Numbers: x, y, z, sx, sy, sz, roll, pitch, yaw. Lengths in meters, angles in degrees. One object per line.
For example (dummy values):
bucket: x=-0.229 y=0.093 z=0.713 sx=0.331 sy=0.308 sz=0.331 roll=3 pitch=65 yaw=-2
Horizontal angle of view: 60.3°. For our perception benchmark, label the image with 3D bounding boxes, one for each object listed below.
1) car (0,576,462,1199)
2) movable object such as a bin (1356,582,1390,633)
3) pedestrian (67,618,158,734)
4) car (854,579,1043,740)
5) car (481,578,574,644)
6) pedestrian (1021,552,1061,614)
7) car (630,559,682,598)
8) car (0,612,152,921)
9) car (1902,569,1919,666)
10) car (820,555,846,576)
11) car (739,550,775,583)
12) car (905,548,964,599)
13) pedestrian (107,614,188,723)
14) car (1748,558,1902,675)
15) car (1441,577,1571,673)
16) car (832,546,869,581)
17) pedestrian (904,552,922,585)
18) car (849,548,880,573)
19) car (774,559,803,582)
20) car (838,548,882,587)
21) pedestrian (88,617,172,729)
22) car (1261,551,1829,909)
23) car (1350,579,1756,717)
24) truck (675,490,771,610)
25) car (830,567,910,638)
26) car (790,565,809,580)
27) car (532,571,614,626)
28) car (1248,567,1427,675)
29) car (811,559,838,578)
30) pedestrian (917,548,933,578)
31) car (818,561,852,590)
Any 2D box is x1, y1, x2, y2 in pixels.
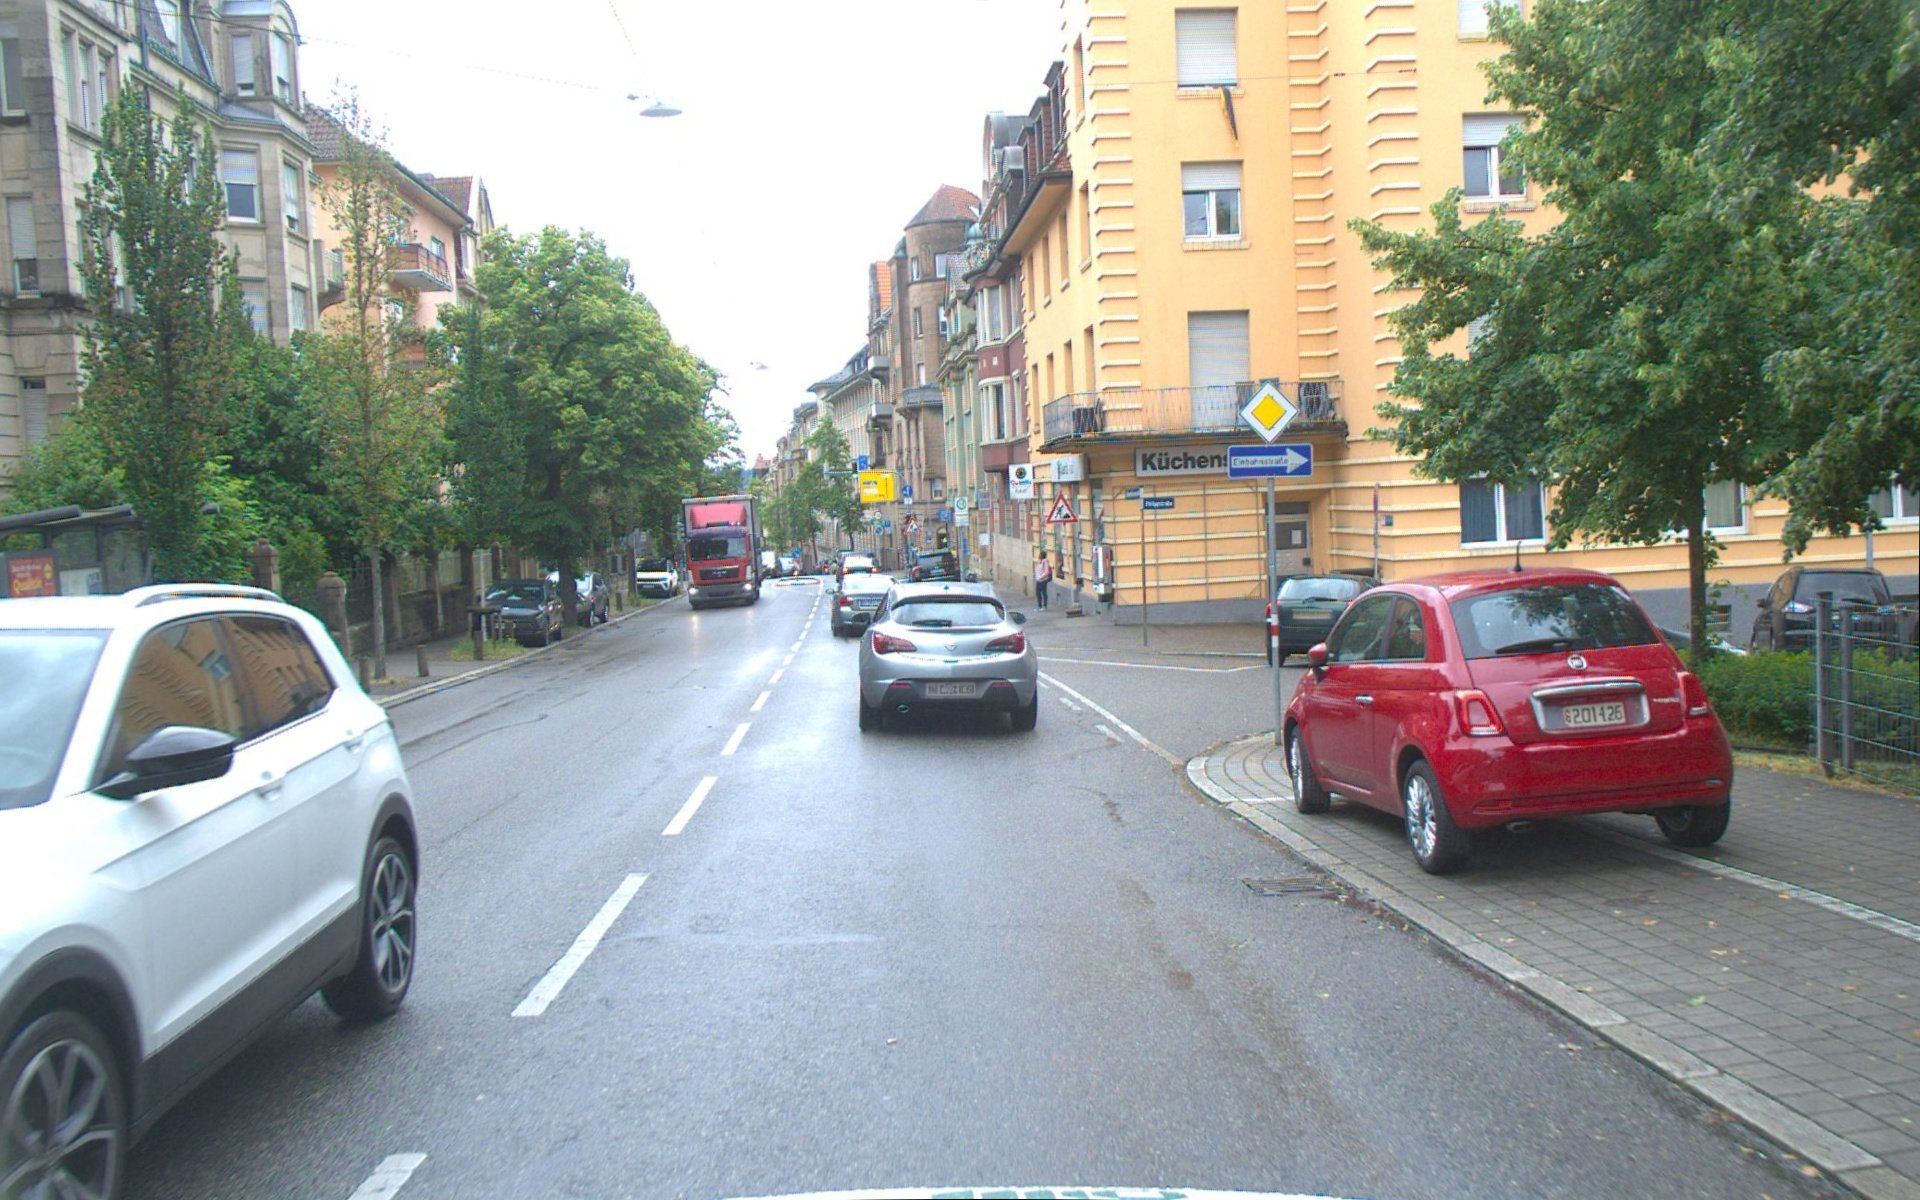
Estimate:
car: x=-2.808 y=0.759 z=4.623 sx=1.737 sy=1.543 sz=4.097 roll=-3 pitch=1 yaw=-4
movable object such as a bin: x=8.261 y=0.141 z=33.093 sx=0.495 sy=0.946 sz=0.513 roll=-4 pitch=4 yaw=-4
pedestrian: x=-11.257 y=0.999 z=21.992 sx=0.751 sy=1.457 sz=0.759 roll=-3 pitch=1 yaw=-4
car: x=-0.203 y=0.540 z=17.757 sx=1.775 sy=1.475 sz=3.867 roll=-1 pitch=1 yaw=-3
car: x=-10.933 y=0.240 z=42.084 sx=1.708 sy=1.586 sz=4.296 roll=0 pitch=1 yaw=-7
pedestrian: x=2.171 y=-0.457 z=44.375 sx=0.756 sy=1.617 sz=0.707 roll=-3 pitch=1 yaw=-23
car: x=-13.095 y=-0.933 z=71.428 sx=1.707 sy=1.586 sz=4.299 roll=-1 pitch=1 yaw=-4
car: x=-5.825 y=0.957 z=8.283 sx=1.710 sy=1.543 sz=3.866 roll=-5 pitch=1 yaw=-4
car: x=17.291 y=0.284 z=28.494 sx=1.670 sy=1.494 sz=3.608 roll=2 pitch=4 yaw=28
car: x=-10.561 y=-2.825 z=137.445 sx=1.610 sy=1.546 sz=3.174 roll=-6 pitch=2 yaw=-11
car: x=-11.451 y=-1.917 z=93.503 sx=1.738 sy=1.543 sz=4.588 roll=-3 pitch=4 yaw=-5
car: x=-0.993 y=-0.984 z=61.592 sx=1.840 sy=1.657 sz=4.694 roll=-6 pitch=1 yaw=-4
pedestrian: x=-11.451 y=0.961 z=23.319 sx=0.751 sy=1.457 sz=0.649 roll=-3 pitch=1 yaw=-2
car: x=14.617 y=0.201 z=28.164 sx=1.667 sy=1.754 sz=4.542 roll=0 pitch=2 yaw=19
car: x=9.345 y=0.422 z=28.148 sx=1.669 sy=1.518 sz=3.634 roll=0 pitch=-1 yaw=25
car: x=-5.404 y=-1.779 z=81.483 sx=1.625 sy=1.569 sz=3.661 roll=-5 pitch=1 yaw=-5
pedestrian: x=-2.652 y=-1.781 z=93.656 sx=0.702 sy=1.804 sz=0.666 roll=-4 pitch=3 yaw=15
car: x=-6.705 y=-2.740 z=116.108 sx=1.627 sy=1.569 sz=3.656 roll=-5 pitch=1 yaw=-11
car: x=-12.255 y=-2.148 z=118.003 sx=1.782 sy=1.544 sz=4.540 roll=-2 pitch=2 yaw=-9
car: x=-4.142 y=-1.353 z=68.761 sx=1.737 sy=1.530 sz=3.866 roll=-1 pitch=1 yaw=-4
pedestrian: x=-11.362 y=0.985 z=22.664 sx=0.751 sy=1.457 sz=0.649 roll=-3 pitch=1 yaw=-2
car: x=3.051 y=0.558 z=9.543 sx=1.578 sy=1.527 sz=3.955 roll=-4 pitch=1 yaw=-4
car: x=7.109 y=0.545 z=20.039 sx=4.189 sy=1.524 sz=1.999 roll=0 pitch=2 yaw=-9
truck: x=-8.626 y=-1.821 z=61.204 sx=2.596 sy=3.920 sz=9.300 roll=-4 pitch=2 yaw=-4
car: x=-2.128 y=0.017 z=38.870 sx=1.737 sy=1.530 sz=3.866 roll=-1 pitch=1 yaw=-4
car: x=-16.486 y=-2.830 z=169.495 sx=1.608 sy=1.454 sz=3.367 roll=-3 pitch=1 yaw=-11
car: x=-11.674 y=-0.082 z=50.145 sx=1.707 sy=1.586 sz=4.299 roll=-1 pitch=1 yaw=-4
car: x=6.294 y=0.301 z=27.256 sx=1.813 sy=1.494 sz=4.105 roll=-3 pitch=1 yaw=28
car: x=-11.740 y=-2.725 z=143.164 sx=1.727 sy=1.486 sz=4.710 roll=-6 pitch=2 yaw=-11
pedestrian: x=-1.978 y=-2.075 z=93.454 sx=0.584 sy=1.611 sz=0.666 roll=-4 pitch=3 yaw=14
car: x=-7.770 y=-1.507 z=102.501 sx=1.627 sy=1.569 sz=3.656 roll=-5 pitch=1 yaw=-11
